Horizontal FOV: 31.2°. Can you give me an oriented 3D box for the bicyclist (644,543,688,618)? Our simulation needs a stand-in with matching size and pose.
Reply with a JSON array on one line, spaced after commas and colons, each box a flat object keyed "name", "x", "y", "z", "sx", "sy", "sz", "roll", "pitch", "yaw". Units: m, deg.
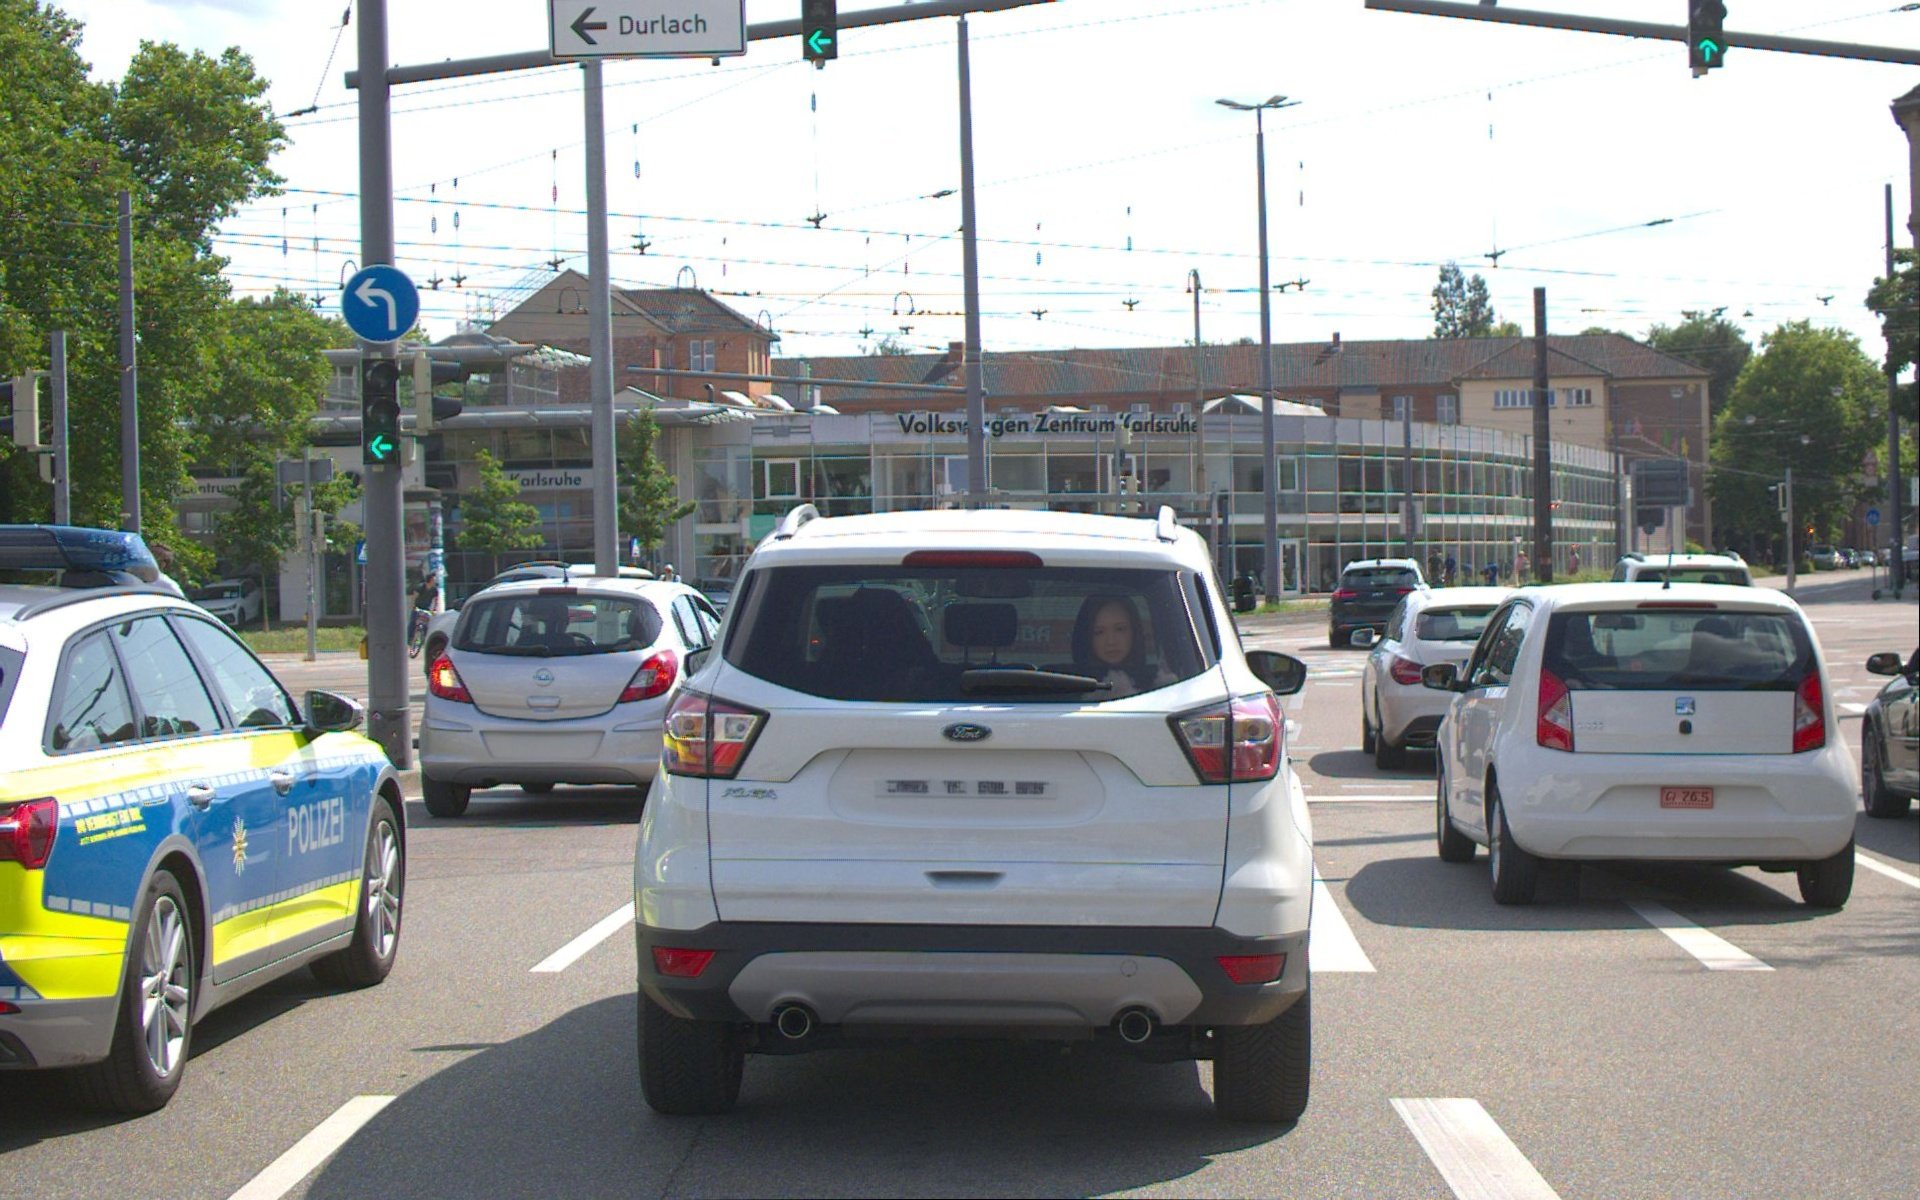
[{"name": "bicyclist", "x": -6.751, "y": -0.455, "z": 78.940, "sx": 0.760, "sy": 1.677, "sz": 0.760, "roll": -2, "pitch": 0, "yaw": 14}]

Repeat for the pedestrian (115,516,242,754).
[{"name": "pedestrian", "x": -6.429, "y": 0.284, "z": 28.307, "sx": 0.847, "sy": 1.910, "sz": 0.692, "roll": -1, "pitch": 0, "yaw": -1}]

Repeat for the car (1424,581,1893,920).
[{"name": "car", "x": 3.336, "y": 0.651, "z": 17.087, "sx": 1.649, "sy": 1.417, "sz": 4.000, "roll": -1, "pitch": 1, "yaw": 3}]

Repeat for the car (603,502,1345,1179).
[{"name": "car", "x": 0.134, "y": 0.579, "z": 10.456, "sx": 1.827, "sy": 1.658, "sz": 3.955, "roll": 0, "pitch": 0, "yaw": 3}]

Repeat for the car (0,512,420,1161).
[{"name": "car", "x": -3.043, "y": 0.562, "z": 10.616, "sx": 1.880, "sy": 1.563, "sz": 4.615, "roll": -1, "pitch": 1, "yaw": 2}]

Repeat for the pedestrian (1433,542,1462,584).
[{"name": "pedestrian", "x": 19.997, "y": -1.516, "z": 140.982, "sx": 0.877, "sy": 1.731, "sz": 0.874, "roll": 1, "pitch": 0, "yaw": 35}]

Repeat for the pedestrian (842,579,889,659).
[{"name": "pedestrian", "x": -2.075, "y": 0.411, "z": 75.766, "sx": 0.924, "sy": 1.738, "sz": 0.589, "roll": 1, "pitch": 0, "yaw": 8}]

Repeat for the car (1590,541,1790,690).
[{"name": "car", "x": 8.460, "y": 0.176, "z": 40.148, "sx": 1.837, "sy": 1.646, "sz": 3.999, "roll": 0, "pitch": 0, "yaw": 6}]

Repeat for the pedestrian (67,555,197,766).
[{"name": "pedestrian", "x": -6.614, "y": 0.479, "z": 27.487, "sx": 0.847, "sy": 1.642, "sz": 0.692, "roll": -1, "pitch": 0, "yaw": -1}]

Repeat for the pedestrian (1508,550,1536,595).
[{"name": "pedestrian", "x": 24.082, "y": -1.159, "z": 147.359, "sx": 0.877, "sy": 1.916, "sz": 0.874, "roll": 1, "pitch": 0, "yaw": 33}]

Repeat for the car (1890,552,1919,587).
[{"name": "car", "x": 46.333, "y": -1.476, "z": 167.225, "sx": 1.838, "sy": 1.646, "sz": 3.996, "roll": 0, "pitch": 0, "yaw": 20}]

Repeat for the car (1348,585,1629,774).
[{"name": "car", "x": 4.165, "y": 0.586, "z": 27.597, "sx": 1.850, "sy": 1.414, "sz": 3.678, "roll": 0, "pitch": 0, "yaw": 3}]

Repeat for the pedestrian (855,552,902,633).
[{"name": "pedestrian", "x": -1.759, "y": -0.165, "z": 74.683, "sx": 0.924, "sy": 1.738, "sz": 0.589, "roll": 1, "pitch": 0, "yaw": 7}]

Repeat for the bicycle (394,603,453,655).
[{"name": "bicycle", "x": -11.938, "y": 0.642, "z": 76.441, "sx": 0.637, "sy": 1.121, "sz": 1.784, "roll": -1, "pitch": 1, "yaw": -32}]

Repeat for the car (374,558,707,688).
[{"name": "car", "x": -5.437, "y": 0.269, "z": 44.155, "sx": 2.040, "sy": 1.573, "sz": 4.537, "roll": 0, "pitch": 0, "yaw": -41}]

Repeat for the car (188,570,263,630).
[{"name": "car", "x": -26.043, "y": 0.020, "z": 122.030, "sx": 1.993, "sy": 2.007, "sz": 4.231, "roll": -3, "pitch": 0, "yaw": -5}]

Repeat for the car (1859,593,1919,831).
[{"name": "car", "x": 6.465, "y": 0.653, "z": 20.220, "sx": 1.699, "sy": 1.367, "sz": 4.132, "roll": 0, "pitch": 0, "yaw": 6}]

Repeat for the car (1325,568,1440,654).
[{"name": "car", "x": 7.193, "y": 0.174, "z": 58.839, "sx": 1.850, "sy": 1.414, "sz": 3.678, "roll": 0, "pitch": 0, "yaw": 5}]

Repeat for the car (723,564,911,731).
[{"name": "car", "x": -1.419, "y": 0.438, "z": 34.919, "sx": 1.762, "sy": 1.563, "sz": 4.527, "roll": -1, "pitch": 0, "yaw": -1}]

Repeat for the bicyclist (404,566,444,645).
[{"name": "bicyclist", "x": -11.905, "y": 0.118, "z": 76.357, "sx": 0.637, "sy": 1.732, "sz": 0.662, "roll": -1, "pitch": 1, "yaw": -32}]

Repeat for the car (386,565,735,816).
[{"name": "car", "x": -2.519, "y": 0.528, "z": 22.562, "sx": 1.848, "sy": 1.469, "sz": 4.000, "roll": -1, "pitch": 0, "yaw": -1}]

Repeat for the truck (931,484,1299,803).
[{"name": "truck", "x": 1.334, "y": 0.268, "z": 26.319, "sx": 2.339, "sy": 2.148, "sz": 5.850, "roll": 0, "pitch": 1, "yaw": 7}]
